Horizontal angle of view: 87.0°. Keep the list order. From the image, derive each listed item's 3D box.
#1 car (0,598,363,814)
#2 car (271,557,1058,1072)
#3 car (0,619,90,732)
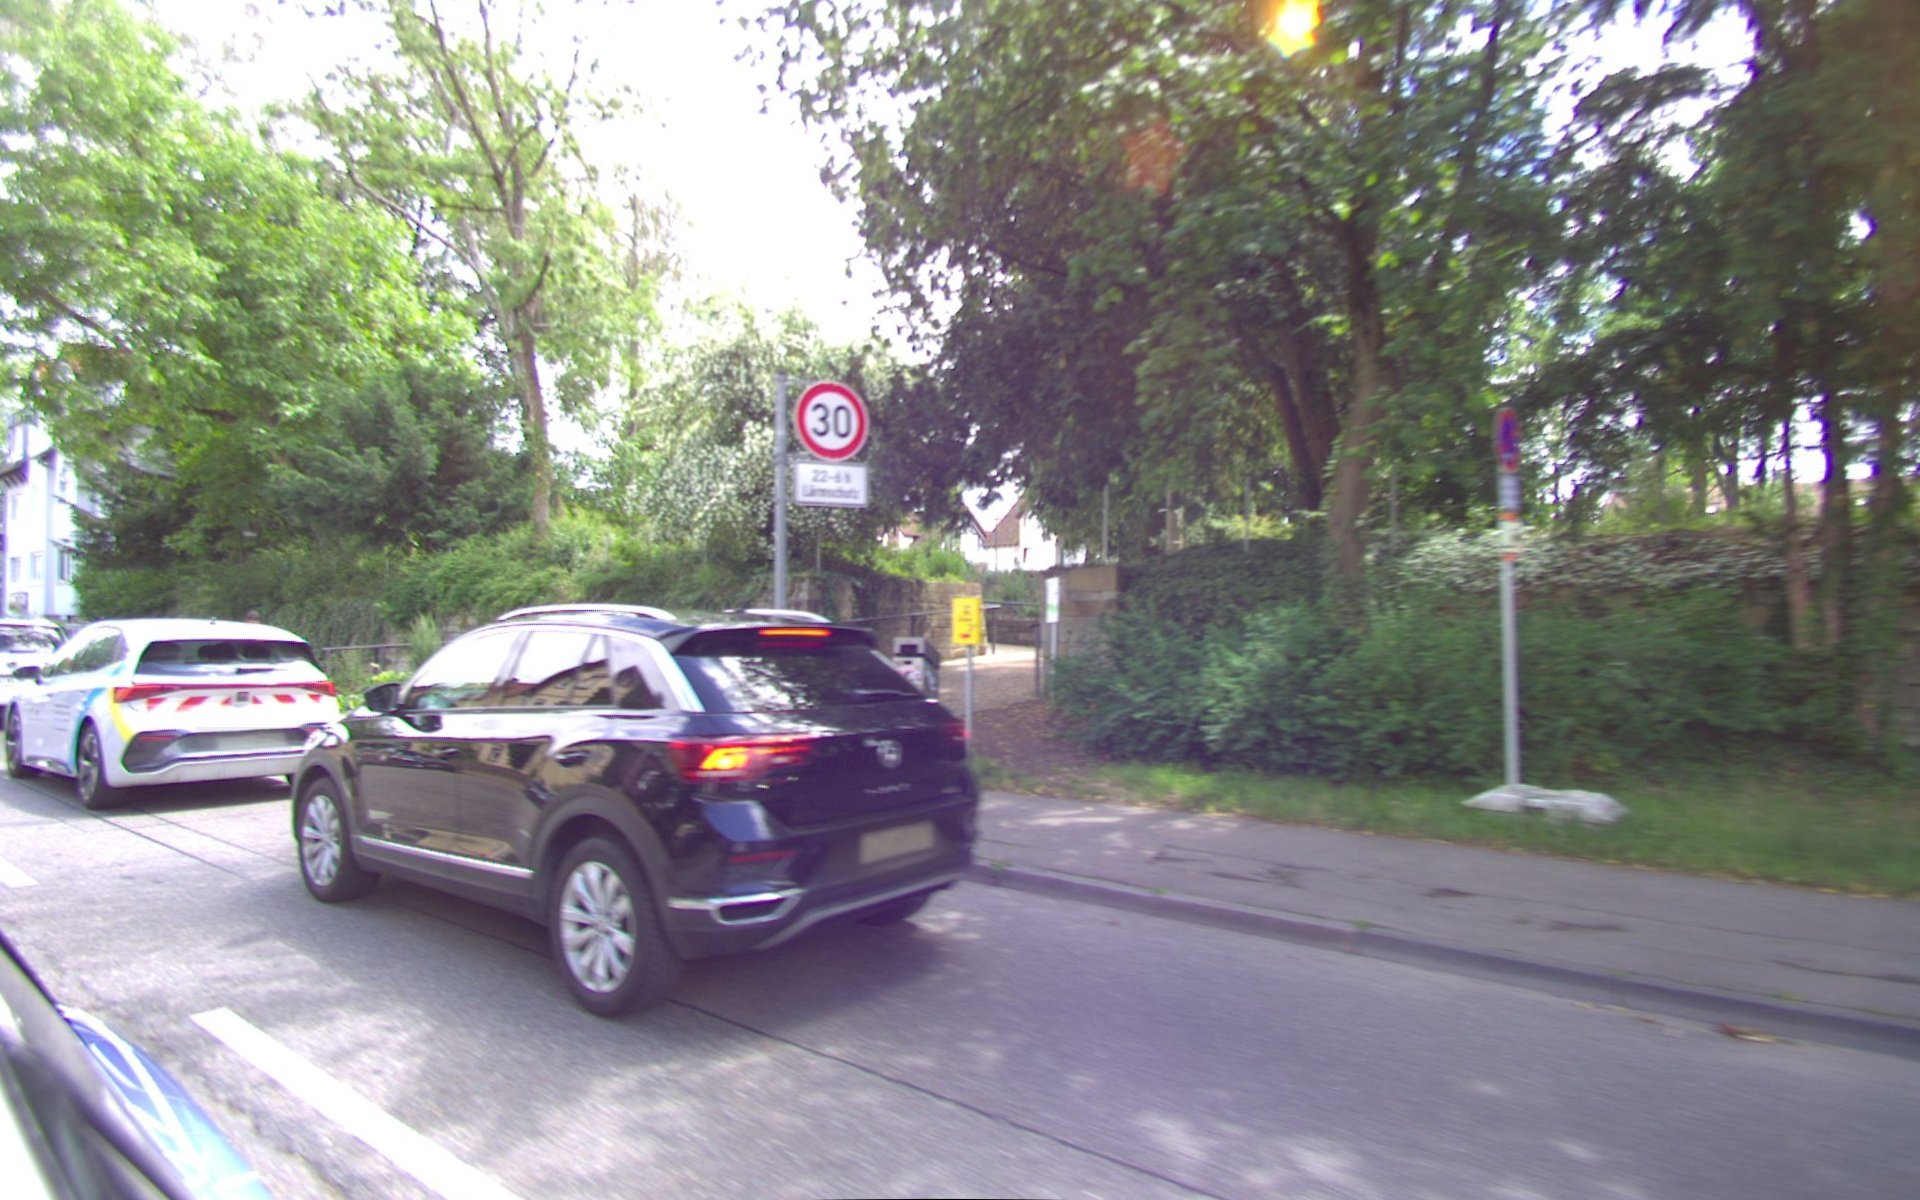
[{"bbox_3d":[-7.439,0.848,9.457,3.996,1.603,1.741,-1,-3,37],"label":"car"},{"bbox_3d":[-1.653,0.704,5.055,3.962,1.603,1.741,-1,-2,37],"label":"car"},{"bbox_3d":[-15.198,1.093,15.632,4.155,1.603,1.741,-1,-3,37],"label":"car"}]
